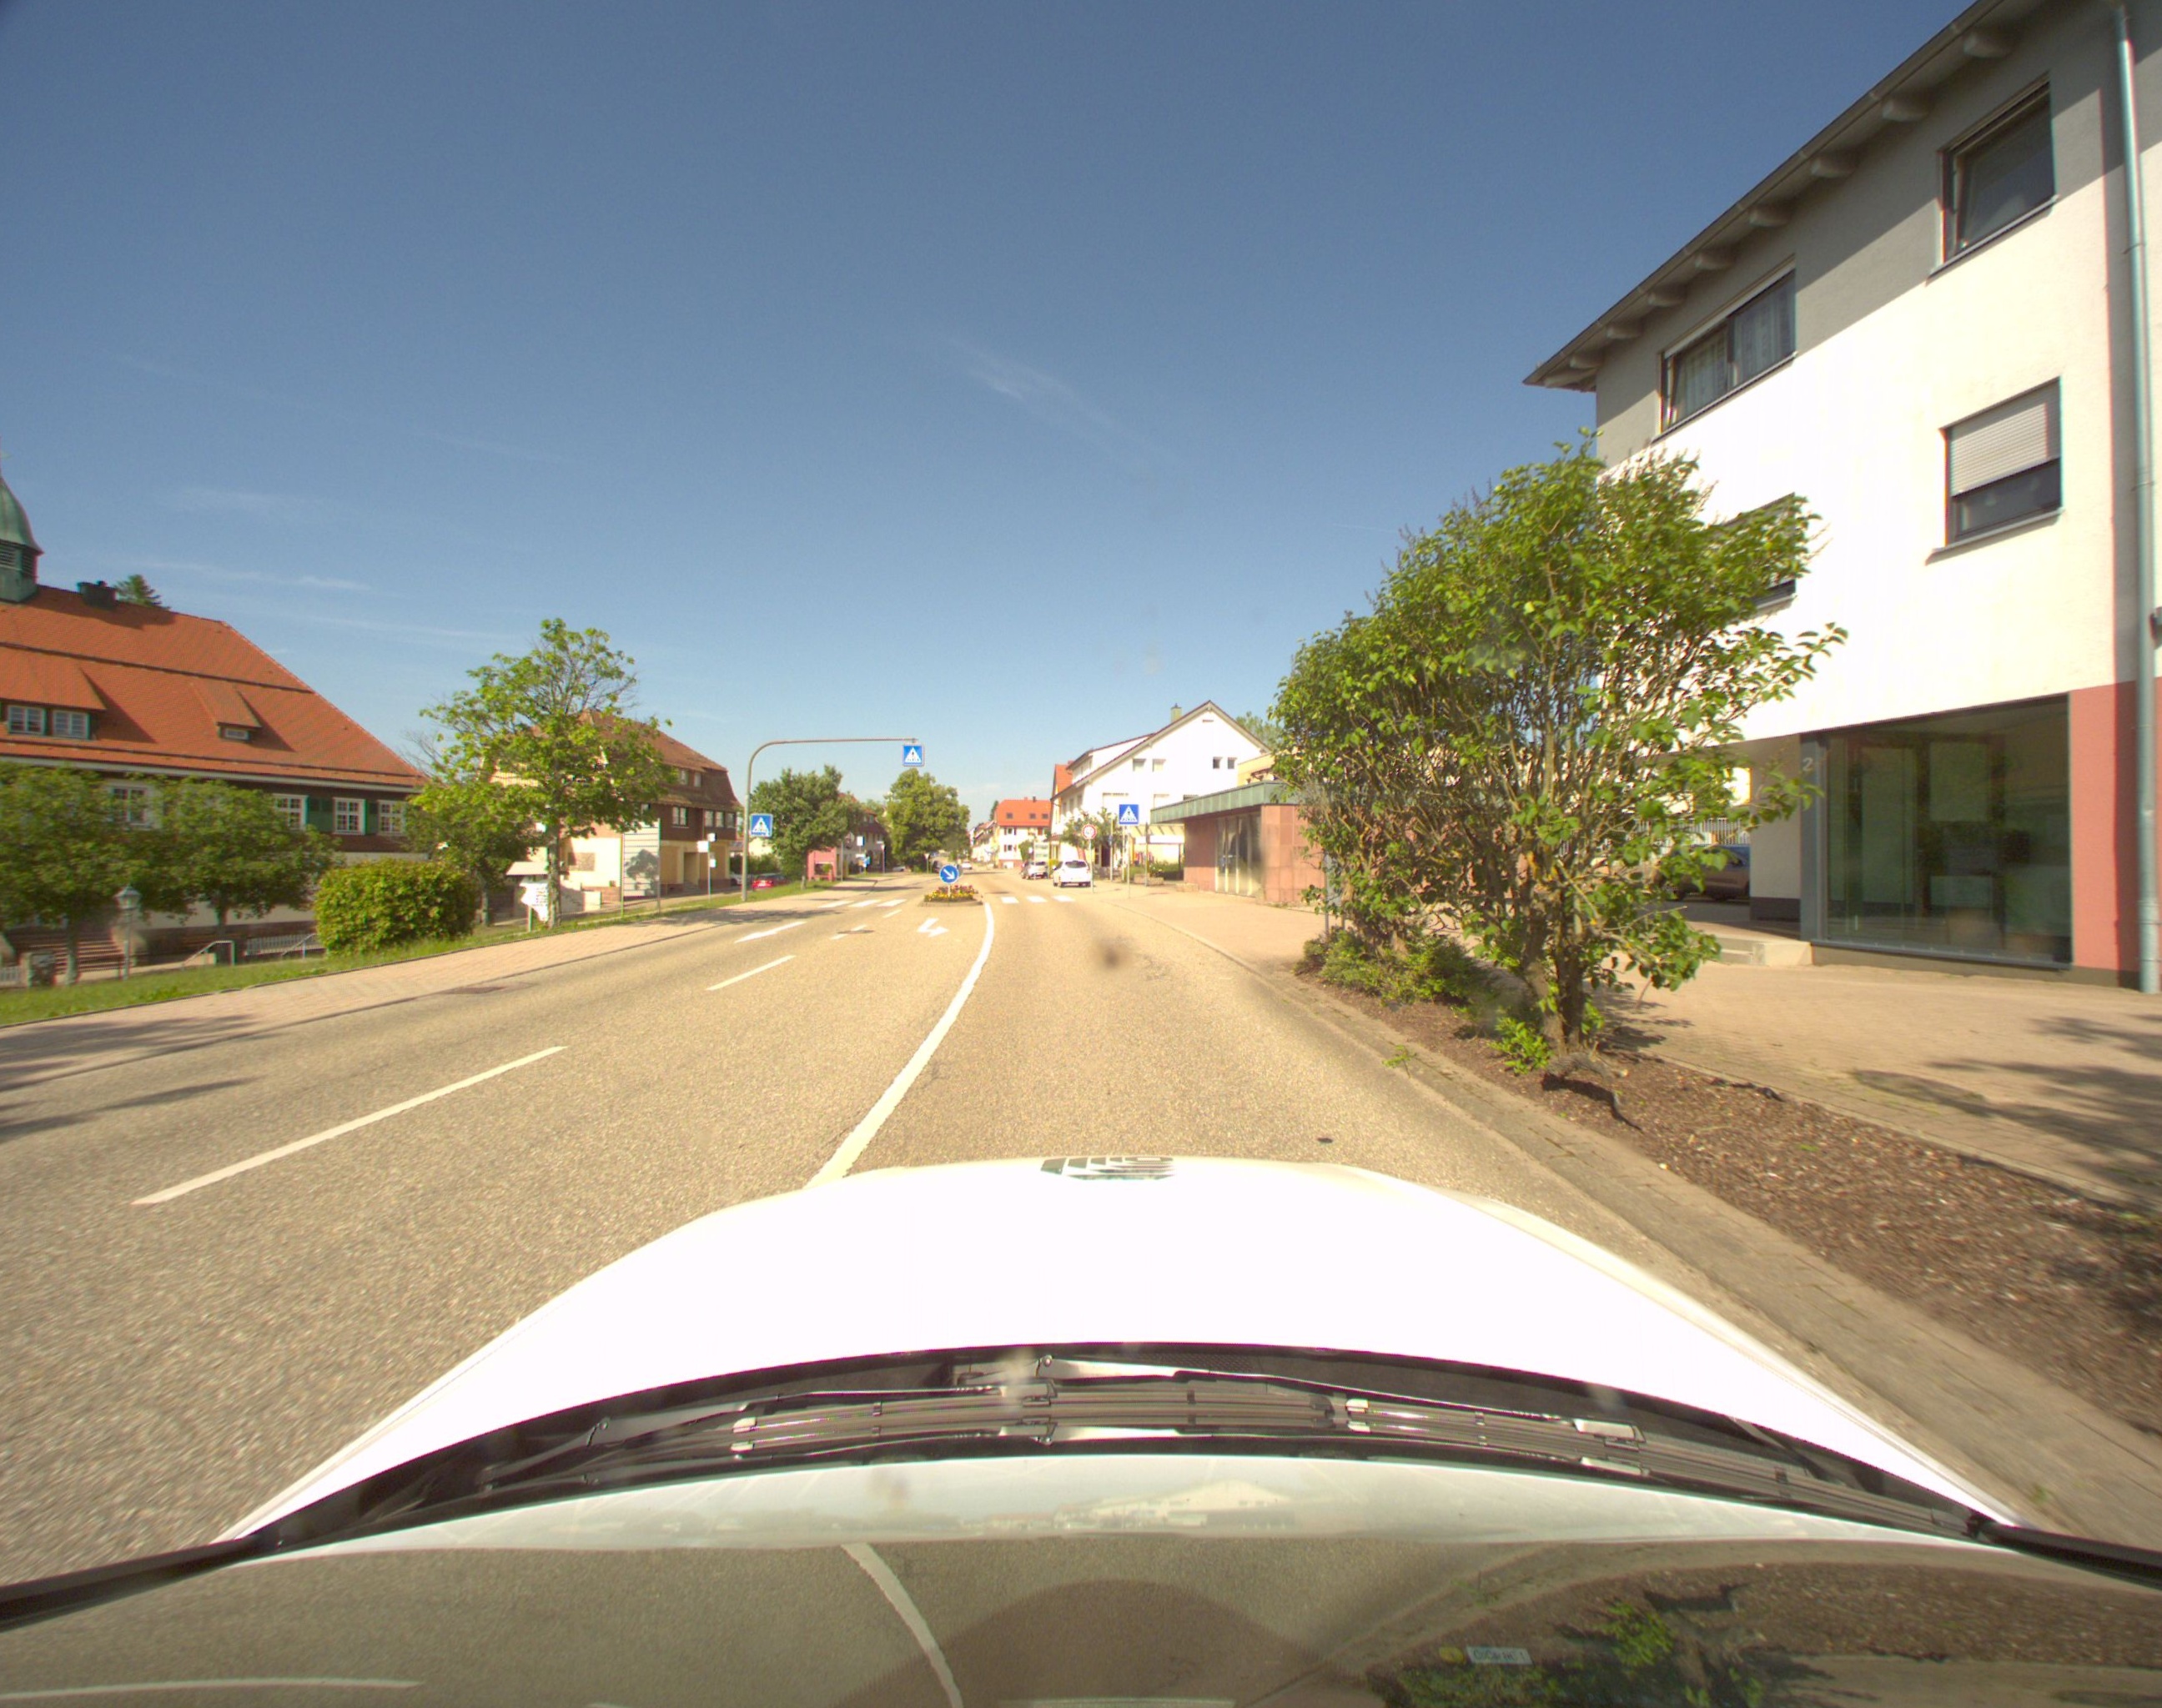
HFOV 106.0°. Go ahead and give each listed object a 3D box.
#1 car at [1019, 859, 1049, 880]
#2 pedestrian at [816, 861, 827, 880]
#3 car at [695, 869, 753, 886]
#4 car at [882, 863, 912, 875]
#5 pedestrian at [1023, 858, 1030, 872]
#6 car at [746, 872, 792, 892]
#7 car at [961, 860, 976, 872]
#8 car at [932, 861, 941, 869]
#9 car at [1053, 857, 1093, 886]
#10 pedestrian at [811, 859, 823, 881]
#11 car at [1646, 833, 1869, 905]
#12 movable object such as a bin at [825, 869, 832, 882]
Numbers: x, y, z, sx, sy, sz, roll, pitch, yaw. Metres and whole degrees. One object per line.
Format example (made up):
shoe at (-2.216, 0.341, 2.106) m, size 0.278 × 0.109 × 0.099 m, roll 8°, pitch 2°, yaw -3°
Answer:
car at (-3.590, 1.157, 61.793) m, size 1.637 × 1.420 × 3.918 m, roll -2°, pitch 0°, yaw -12°
pedestrian at (-17.531, 1.107, 54.979) m, size 0.629 × 1.253 × 0.422 m, roll -3°, pitch -1°, yaw -12°
car at (-31.582, 2.067, 72.054) m, size 4.286 × 1.512 × 1.800 m, roll 0°, pitch -2°, yaw 1°
car at (-26.865, 2.247, 118.963) m, size 3.744 × 1.455 × 1.818 m, roll -3°, pitch -6°, yaw 3°
pedestrian at (-6.790, 1.372, 101.395) m, size 0.798 × 1.784 × 0.978 m, roll -2°, pitch -1°, yaw -4°
car at (-24.416, 2.177, 63.872) m, size 1.712 × 1.297 × 4.006 m, roll -2°, pitch 0°, yaw 6°
car at (-21.675, 2.316, 156.695) m, size 2.498 × 2.013 × 4.285 m, roll -3°, pitch 0°, yaw -13°
car at (-29.231, 2.193, 164.961) m, size 1.672 × 1.533 × 3.524 m, roll 3°, pitch -1°, yaw -9°
car at (-0.456, 0.892, 43.671) m, size 1.758 × 1.423 × 3.625 m, roll -2°, pitch 0°, yaw -6°
pedestrian at (-17.583, 1.070, 54.331) m, size 0.617 × 1.364 × 0.672 m, roll -3°, pitch 1°, yaw -11°
car at (17.606, 0.350, 21.531) m, size 1.915 × 1.649 × 4.367 m, roll -2°, pitch 0°, yaw -8°
movable object such as a bin at (-16.231, 1.361, 52.359) m, size 0.305 × 0.837 × 0.483 m, roll -2°, pitch -1°, yaw -11°
